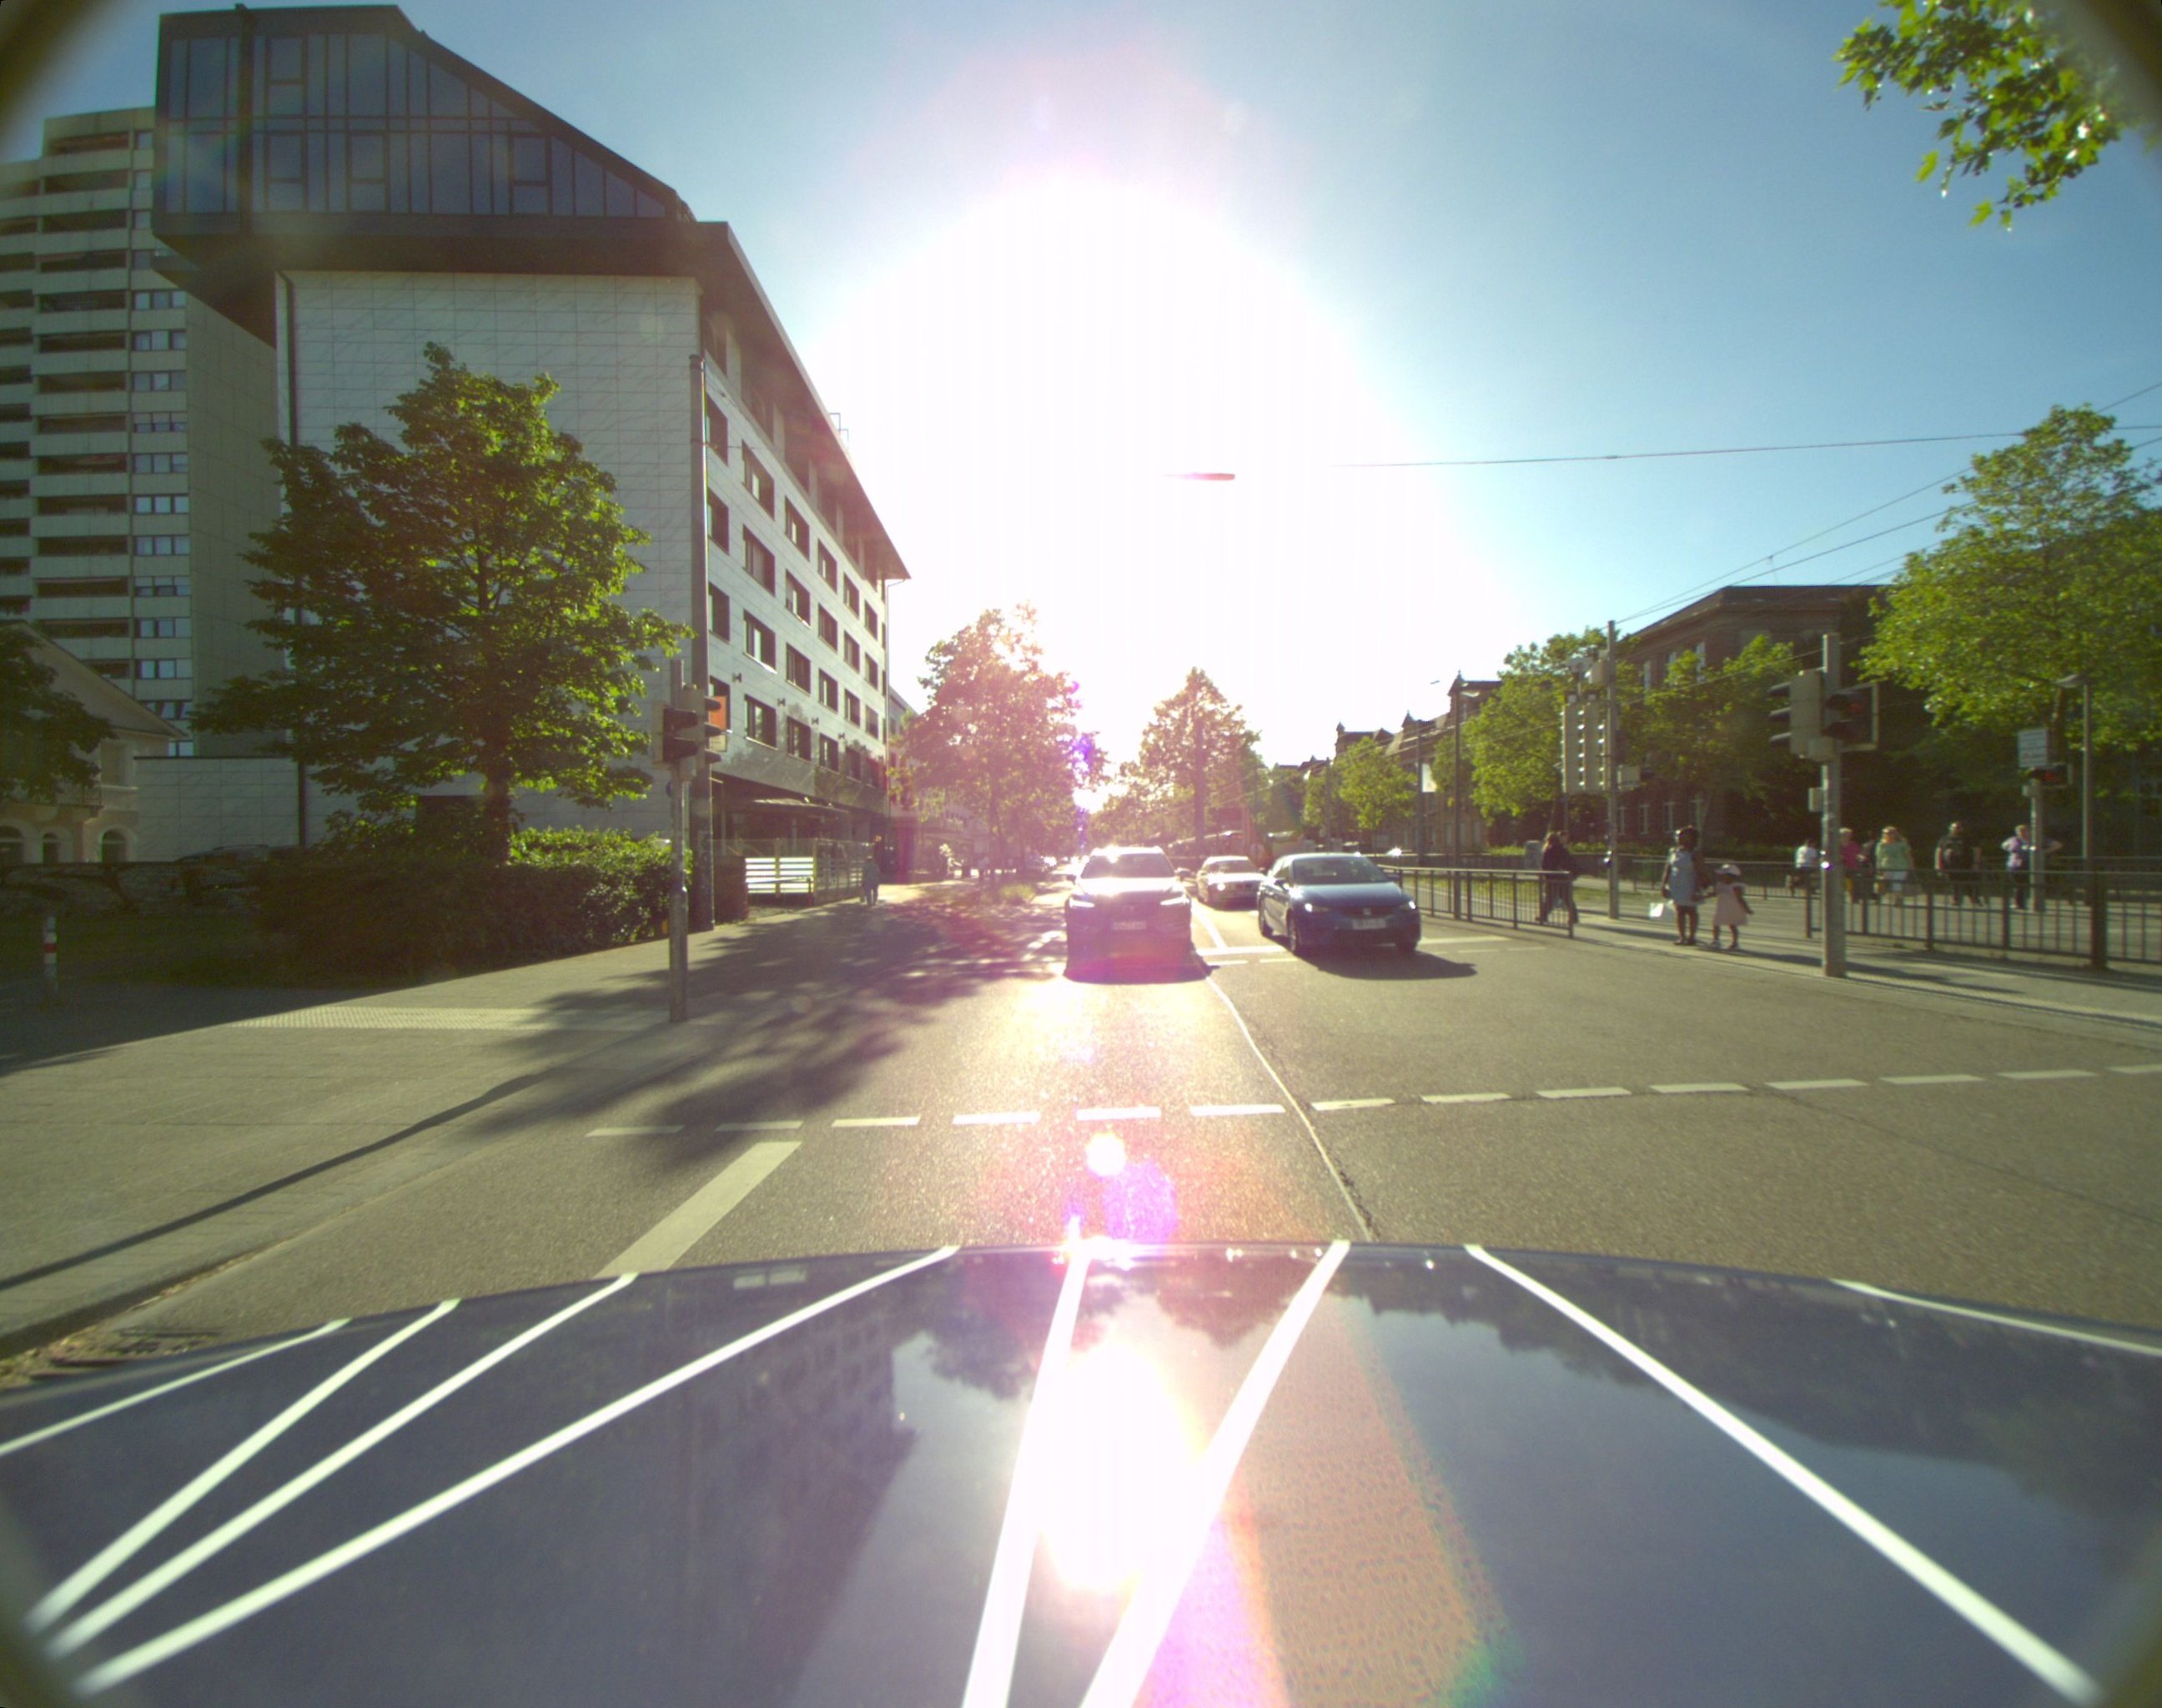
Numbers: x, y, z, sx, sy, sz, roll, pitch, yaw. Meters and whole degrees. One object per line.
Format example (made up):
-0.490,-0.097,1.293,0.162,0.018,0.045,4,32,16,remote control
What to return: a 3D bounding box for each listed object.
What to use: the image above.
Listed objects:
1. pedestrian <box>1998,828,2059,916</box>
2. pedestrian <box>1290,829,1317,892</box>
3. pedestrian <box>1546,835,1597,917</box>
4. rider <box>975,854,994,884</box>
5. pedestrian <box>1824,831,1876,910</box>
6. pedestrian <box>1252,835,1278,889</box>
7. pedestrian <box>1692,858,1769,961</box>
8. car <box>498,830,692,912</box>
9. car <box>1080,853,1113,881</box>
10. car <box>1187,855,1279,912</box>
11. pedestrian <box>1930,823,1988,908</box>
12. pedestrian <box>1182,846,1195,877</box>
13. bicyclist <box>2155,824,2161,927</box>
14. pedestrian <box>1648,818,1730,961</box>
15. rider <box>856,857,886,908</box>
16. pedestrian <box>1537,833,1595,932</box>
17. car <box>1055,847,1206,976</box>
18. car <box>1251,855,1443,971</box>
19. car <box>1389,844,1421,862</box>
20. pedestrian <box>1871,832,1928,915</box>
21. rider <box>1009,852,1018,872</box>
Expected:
18.146,0.336,14.557,0.595,1.634,0.698,-3,1,-37,pedestrian
7.824,0.228,26.714,0.785,2.175,0.801,-2,1,19,pedestrian
10.210,0.449,15.829,0.545,1.652,0.730,-3,1,3,pedestrian
-5.617,0.862,44.173,0.924,1.668,0.977,-3,1,-1,rider
17.492,0.370,17.292,0.595,1.735,0.698,-3,1,-34,pedestrian
7.025,0.318,28.981,0.711,2.002,0.787,-3,1,0,pedestrian
8.128,0.683,9.514,0.594,1.226,0.425,-3,1,-11,pedestrian
-13.197,0.444,20.837,3.998,2.086,1.999,1,0,-3,car
1.000,0.793,47.437,1.775,1.567,3.823,-3,0,4,car
4.404,0.800,22.626,1.799,1.420,3.999,-3,0,-1,car
18.514,0.236,16.025,0.595,1.726,0.698,-3,1,-34,pedestrian
7.501,0.534,52.965,0.714,2.103,0.787,-3,1,3,pedestrian
17.969,0.330,12.179,0.970,1.634,0.833,-3,1,-34,bicyclist
8.006,0.453,10.014,0.647,1.796,0.504,-3,1,-11,pedestrian
-6.685,0.902,24.220,0.779,1.582,0.789,0,1,-5,rider
8.450,0.483,13.255,0.580,1.652,0.667,-2,1,7,pedestrian
0.577,0.772,12.827,1.949,1.690,5.305,-1,0,-3,car
3.910,0.781,11.881,1.777,1.439,3.870,-3,0,3,car
23.705,-0.074,55.607,1.182,1.190,2.458,-3,0,-1,car
17.197,0.402,15.970,0.595,1.666,0.698,-3,1,-34,pedestrian
-5.966,0.730,67.194,0.759,1.717,0.895,-3,1,-3,rider
